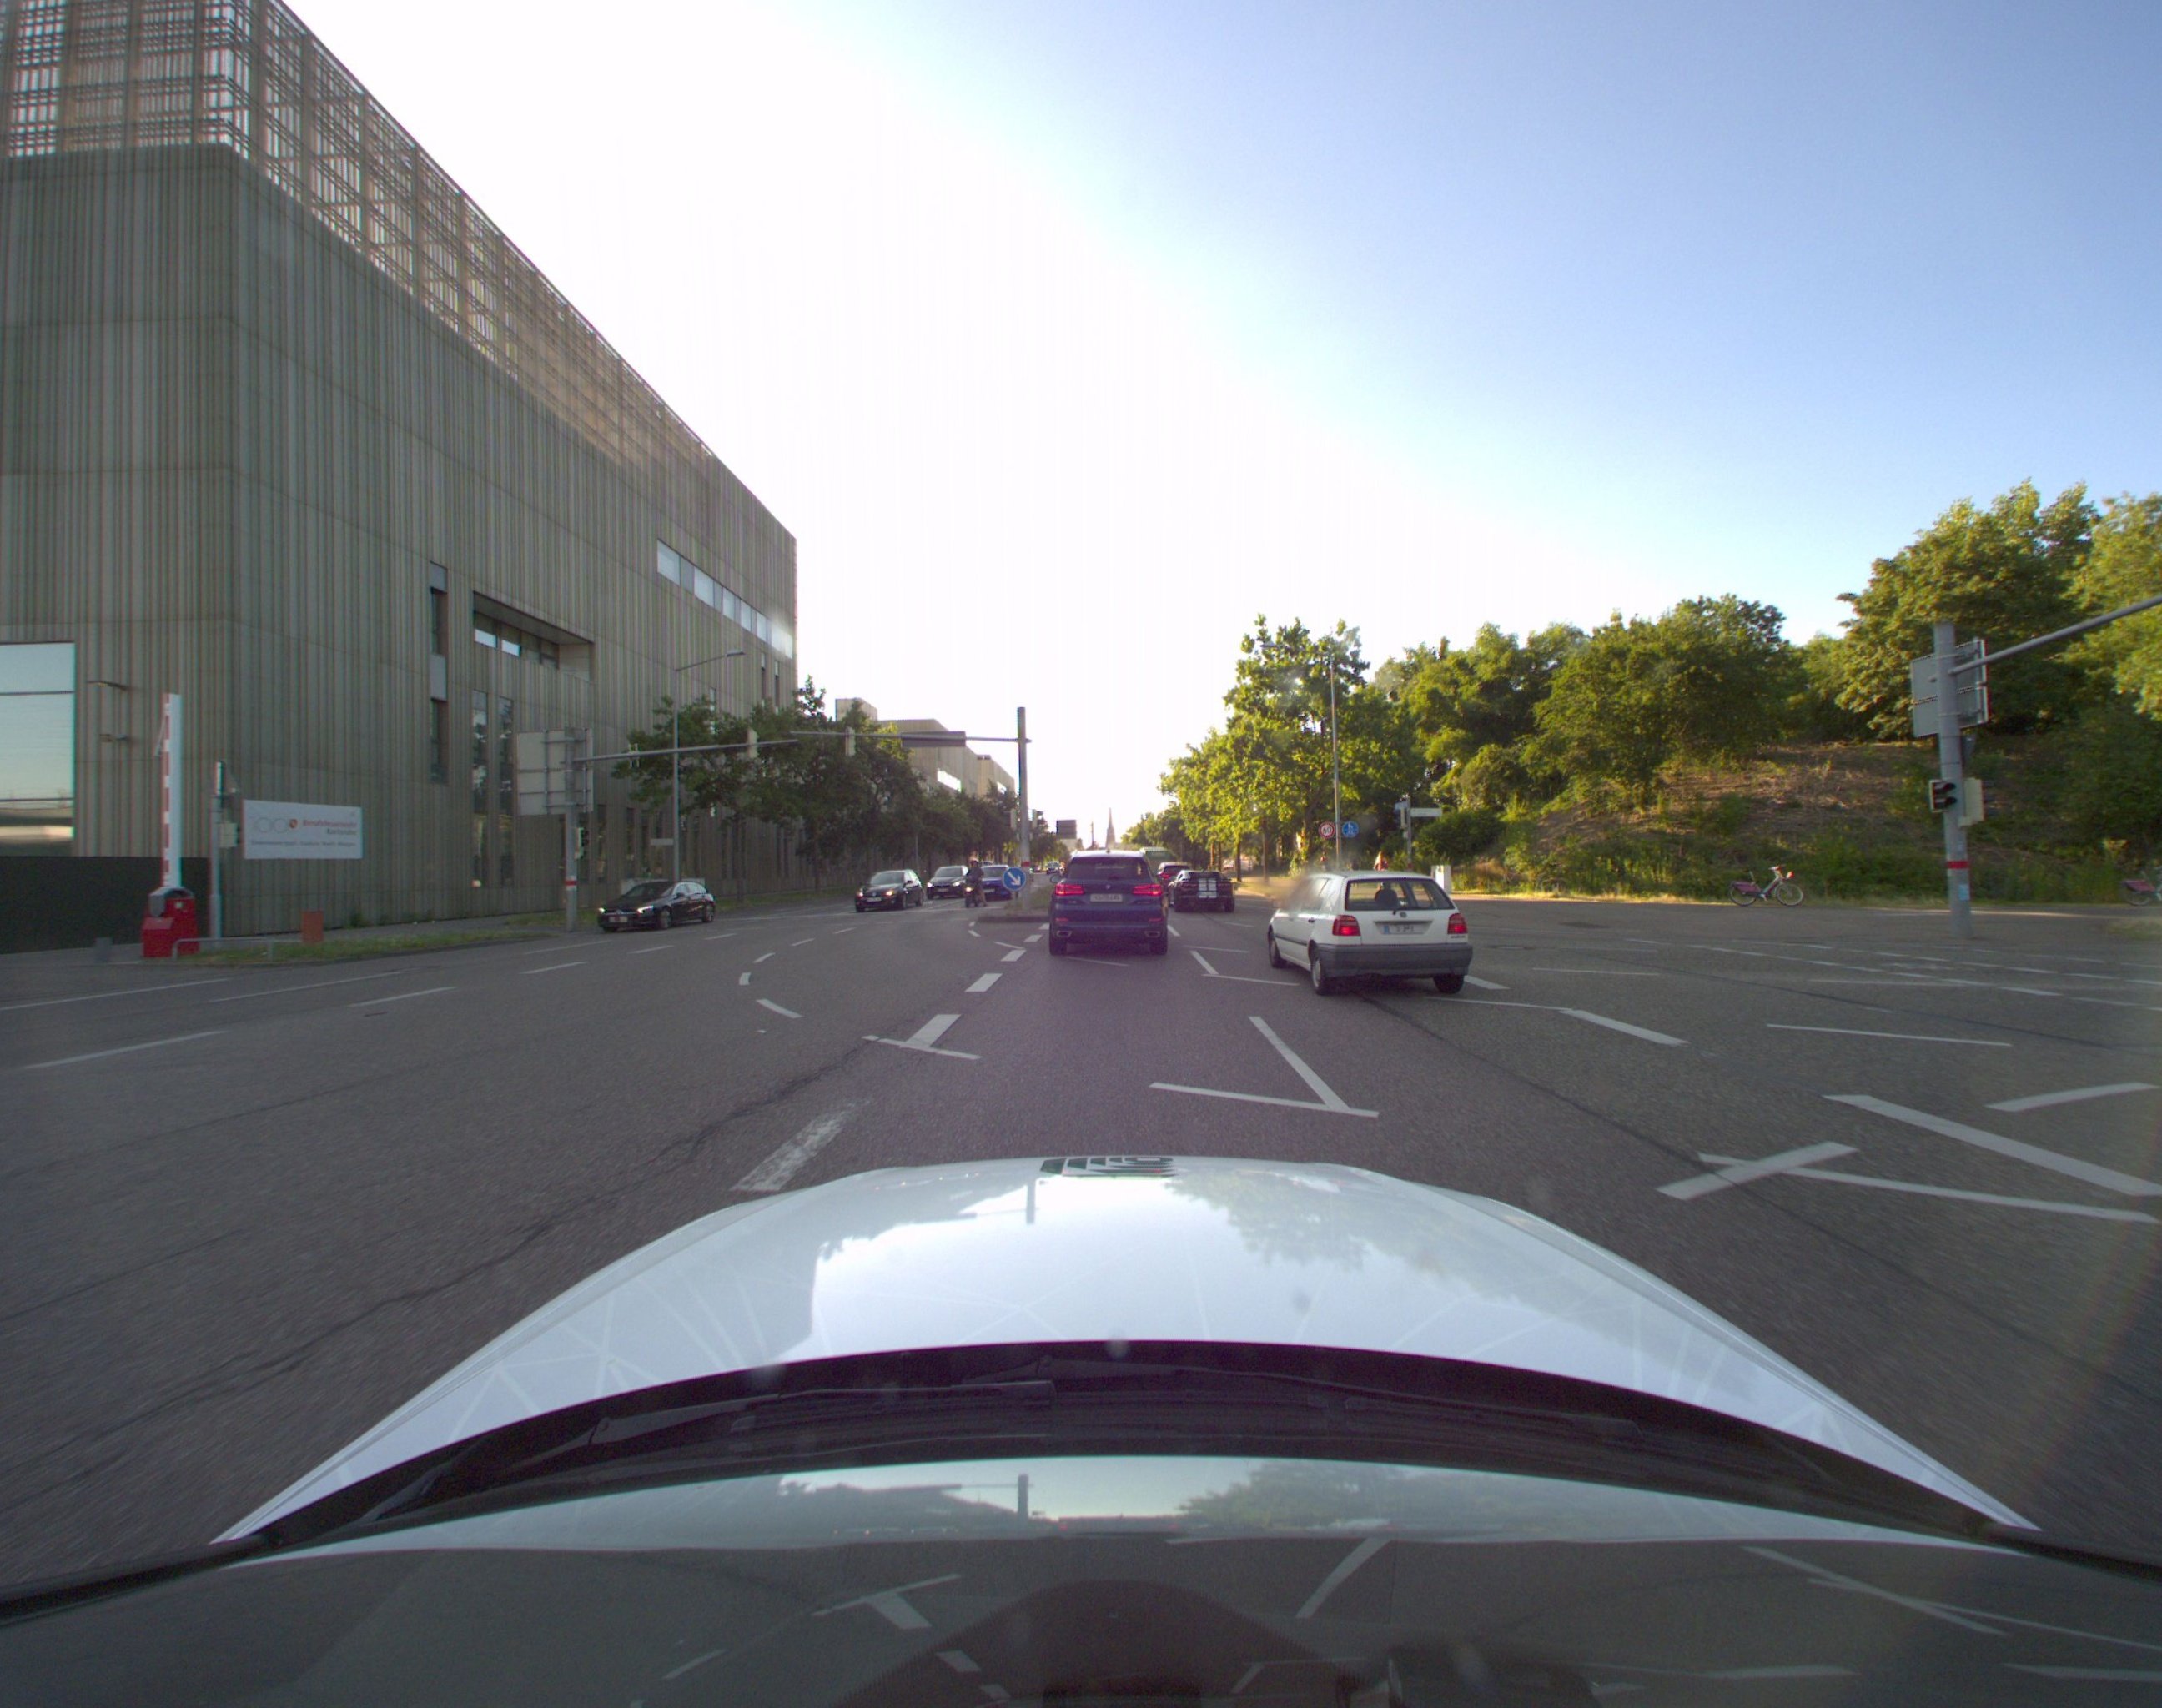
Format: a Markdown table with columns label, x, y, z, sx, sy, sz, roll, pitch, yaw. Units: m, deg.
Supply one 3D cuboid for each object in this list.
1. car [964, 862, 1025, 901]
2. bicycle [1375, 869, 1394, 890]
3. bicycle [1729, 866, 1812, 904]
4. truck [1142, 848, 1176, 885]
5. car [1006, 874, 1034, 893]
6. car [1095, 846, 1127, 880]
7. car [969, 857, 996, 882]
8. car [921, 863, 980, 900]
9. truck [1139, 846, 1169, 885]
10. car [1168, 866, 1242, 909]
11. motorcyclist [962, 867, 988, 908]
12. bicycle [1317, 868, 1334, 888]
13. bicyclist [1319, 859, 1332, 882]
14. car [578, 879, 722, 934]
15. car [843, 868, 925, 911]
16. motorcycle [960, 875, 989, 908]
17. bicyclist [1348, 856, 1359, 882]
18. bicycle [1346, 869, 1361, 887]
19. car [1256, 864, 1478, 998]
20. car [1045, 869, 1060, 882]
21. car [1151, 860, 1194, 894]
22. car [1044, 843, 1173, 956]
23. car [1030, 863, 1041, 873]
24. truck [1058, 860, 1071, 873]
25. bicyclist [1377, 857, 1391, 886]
| label | x | y | z | sx | sy | sz | roll | pitch | yaw |
| --- | --- | --- | --- | --- | --- | --- | --- | --- | --- |
| car | -3.655 | 1.167 | 34.959 | 1.693 | 1.452 | 3.864 | -5 | -2 | 6 |
| bicycle | 13.277 | 1.113 | 35.660 | 0.436 | 0.914 | 1.027 | -3 | -2 | 2 |
| bicycle | 19.262 | 0.868 | 22.777 | 1.649 | 0.991 | 0.581 | -2 | 1 | 18 |
| truck | 5.117 | 0.830 | 53.556 | 1.988 | 2.315 | 4.001 | 0 | -2 | 2 |
| car | -5.301 | 2.564 | 71.384 | 1.987 | 1.452 | 4.798 | -5 | -2 | 0 |
| car | 2.341 | 0.748 | 64.373 | 2.132 | 2.576 | 5.080 | 0 | -2 | -3 |
| car | -8.731 | 1.368 | 72.546 | 1.788 | 1.979 | 3.994 | -4 | 0 | 1 |
| car | -6.380 | 1.365 | 40.407 | 1.987 | 1.592 | 4.715 | -5 | -2 | 1 |
| truck | 5.194 | 0.848 | 58.414 | 1.988 | 2.669 | 4.001 | 0 | -2 | 2 |
| car | 3.982 | 1.092 | 26.791 | 1.986 | 1.295 | 4.001 | 0 | -2 | 2 |
| motorcyclist | -3.764 | 1.188 | 29.051 | 0.796 | 1.349 | 1.272 | -3 | 0 | -5 |
| bicycle | 14.372 | 1.410 | 47.835 | 0.562 | 1.112 | 1.622 | 0 | -2 | 2 |
| bicyclist | 14.362 | 0.954 | 47.815 | 0.541 | 1.316 | 0.836 | 0 | -2 | 2 |
| car | -13.097 | 1.541 | 25.100 | 1.987 | 1.401 | 4.348 | -5 | -2 | 1 |
| car | -7.250 | 1.299 | 30.437 | 1.986 | 1.475 | 4.080 | 1 | -2 | 1 |
| motorcycle | -3.774 | 1.309 | 28.959 | 0.838 | 1.076 | 2.397 | -3 | -1 | -5 |
| bicyclist | 13.972 | 0.775 | 41.720 | 0.426 | 1.309 | 0.460 | 0 | -2 | 2 |
| bicycle | 13.966 | 1.242 | 41.717 | 0.436 | 0.914 | 1.027 | 0 | -2 | 2 |
| car | 3.472 | 0.878 | 10.685 | 1.573 | 1.413 | 4.062 | 0 | -2 | 1 |
| car | -4.030 | 3.060 | 116.260 | 1.750 | 1.777 | 4.494 | -5 | -2 | 1 |
| car | 4.403 | 1.133 | 39.765 | 1.789 | 1.559 | 4.001 | 0 | -2 | 2 |
| car | 0.520 | 0.769 | 14.864 | 1.986 | 1.734 | 4.534 | 0 | -2 | 2 |
| car | -8.548 | 2.630 | 153.051 | 1.750 | 1.705 | 4.494 | -5 | -2 | 1 |
| truck | -5.387 | 4.109 | 263.495 | 3.977 | 4.089 | 11.442 | 0 | -2 | -1 |
| bicyclist | 13.282 | 0.757 | 35.695 | 0.426 | 1.233 | 0.460 | -1 | -2 | 2 |
